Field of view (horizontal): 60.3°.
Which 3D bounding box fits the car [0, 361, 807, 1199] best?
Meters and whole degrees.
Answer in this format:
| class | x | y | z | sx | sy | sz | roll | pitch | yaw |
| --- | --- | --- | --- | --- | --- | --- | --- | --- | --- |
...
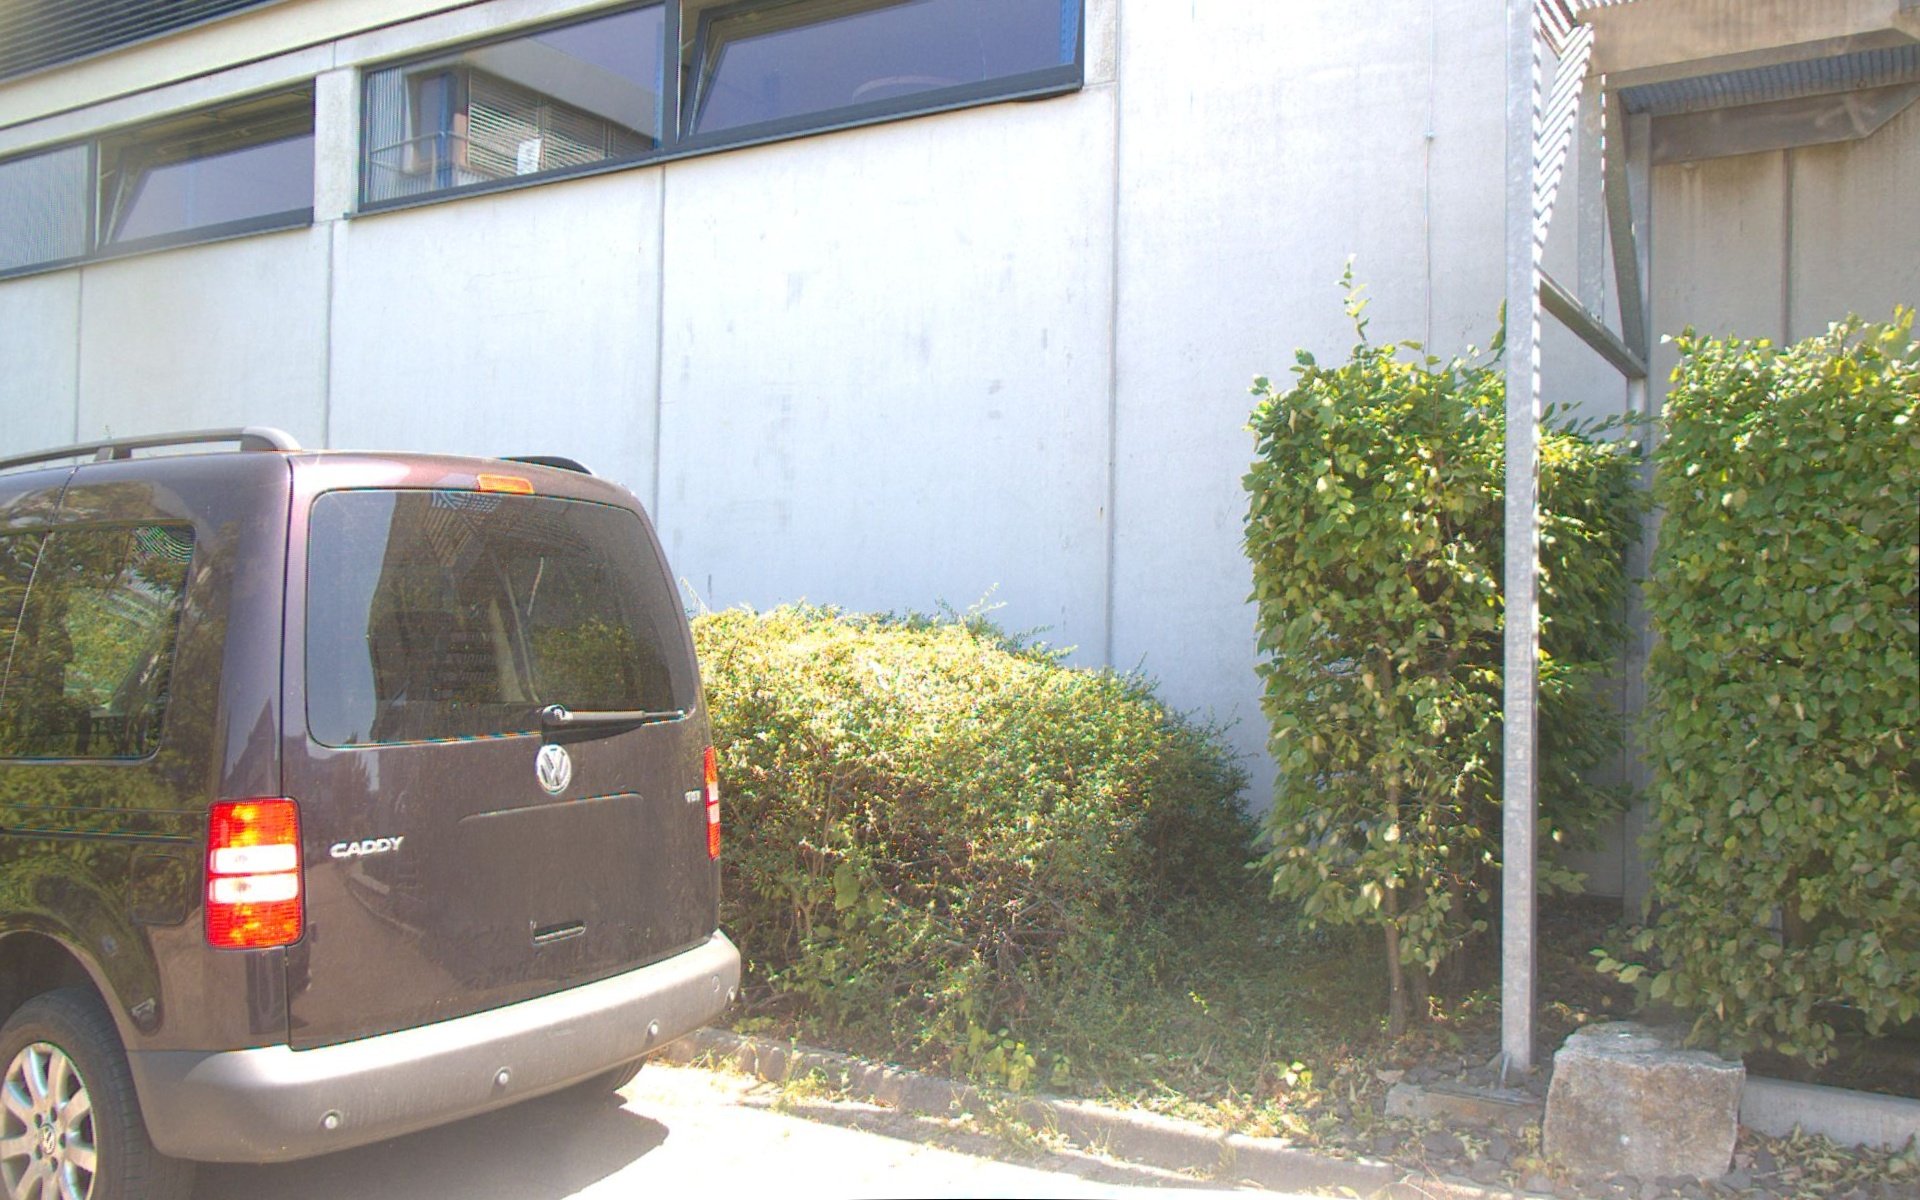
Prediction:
| class | x | y | z | sx | sy | sz | roll | pitch | yaw |
| --- | --- | --- | --- | --- | --- | --- | --- | --- | --- |
| car | -2.547 | 0.498 | 4.929 | 3.985 | 1.917 | 1.674 | 0 | 0 | 32 |
